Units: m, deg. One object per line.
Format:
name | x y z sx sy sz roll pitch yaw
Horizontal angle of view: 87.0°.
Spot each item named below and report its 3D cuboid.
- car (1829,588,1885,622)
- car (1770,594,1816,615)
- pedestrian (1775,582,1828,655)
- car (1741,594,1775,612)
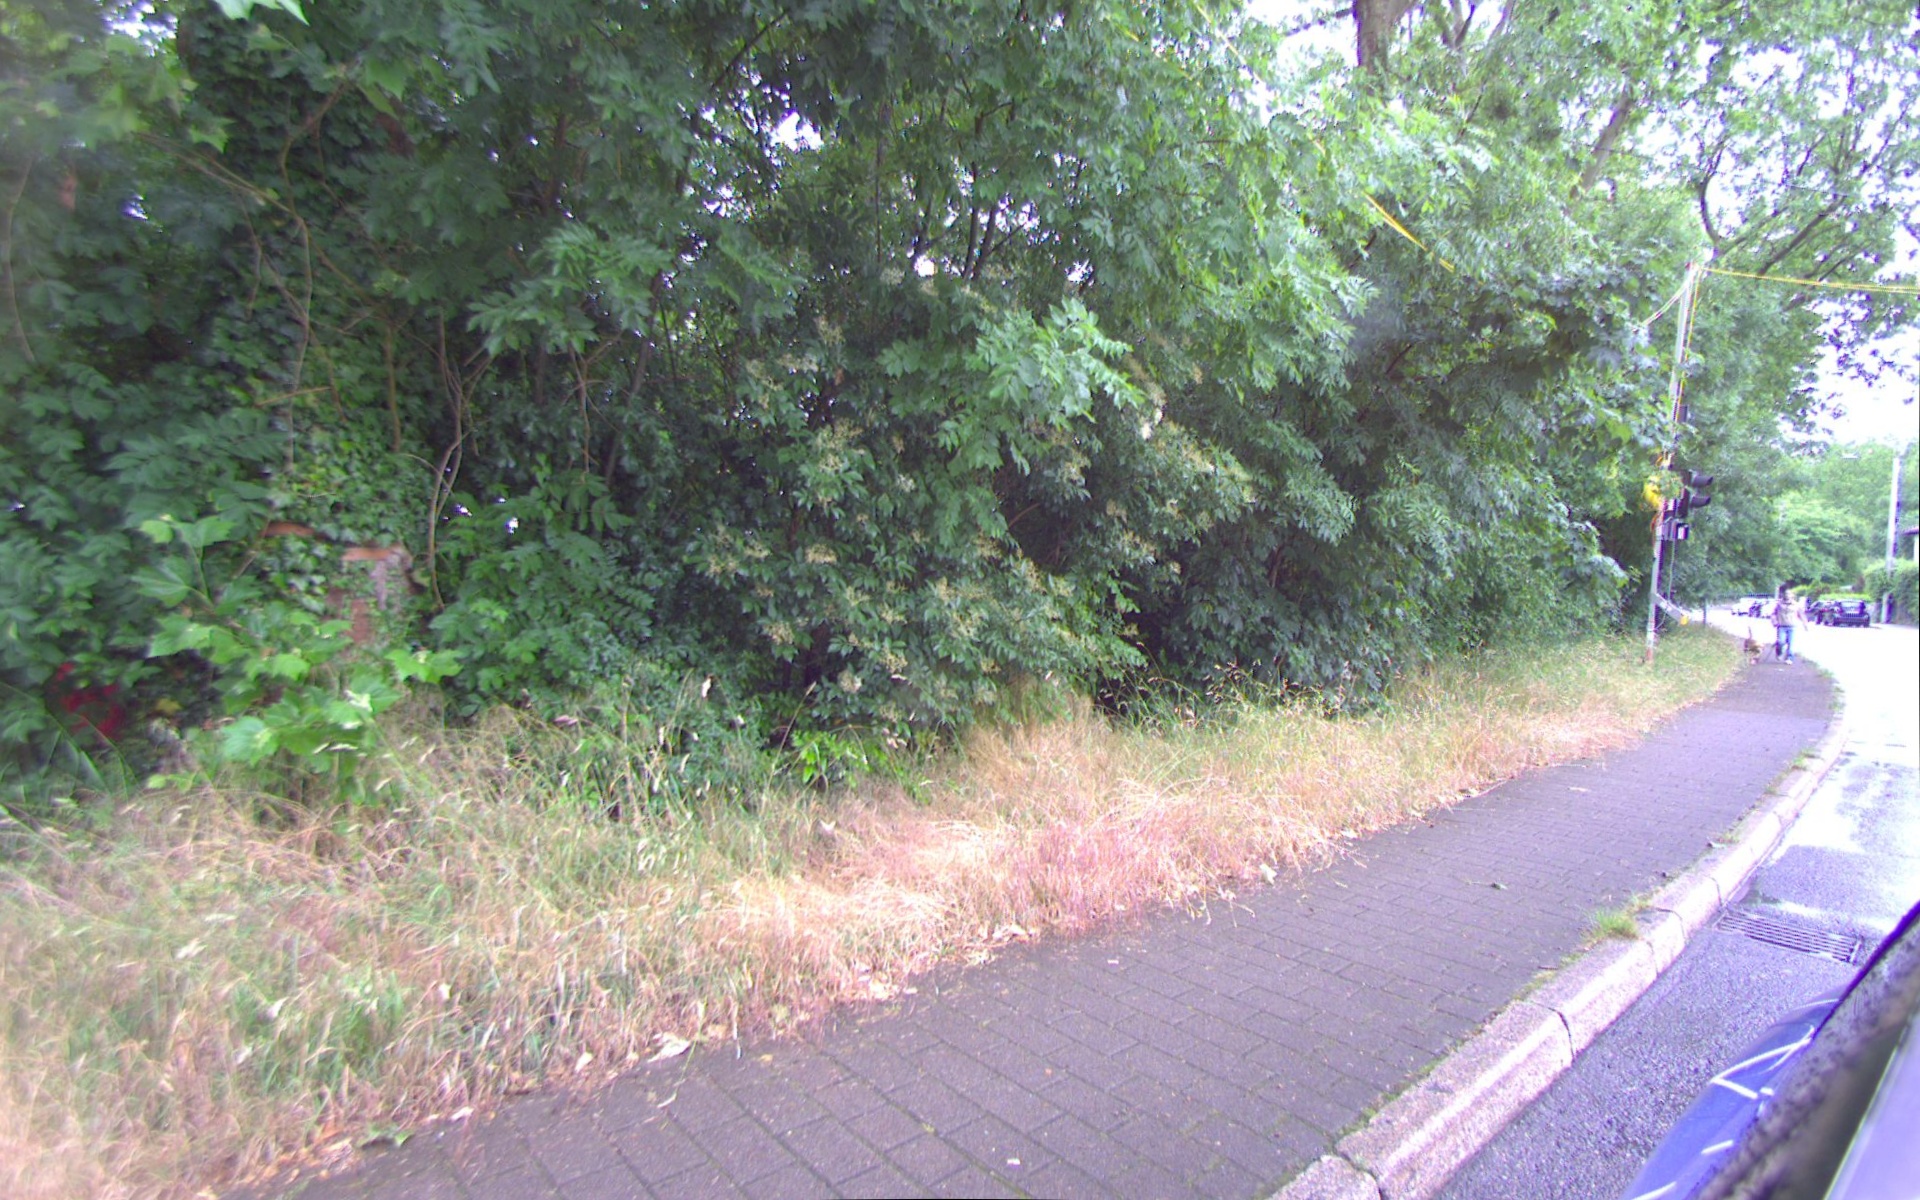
car | 51.073 0.277 57.709 1.869 1.848 4.075 1 1 35
car | 60.761 0.291 73.921 2.055 1.504 4.508 1 1 33
pedestrian | 17.986 0.380 21.632 0.771 1.518 0.734 0 -1 -42
car | 64.955 0.213 82.373 1.676 1.445 3.734 1 1 31
